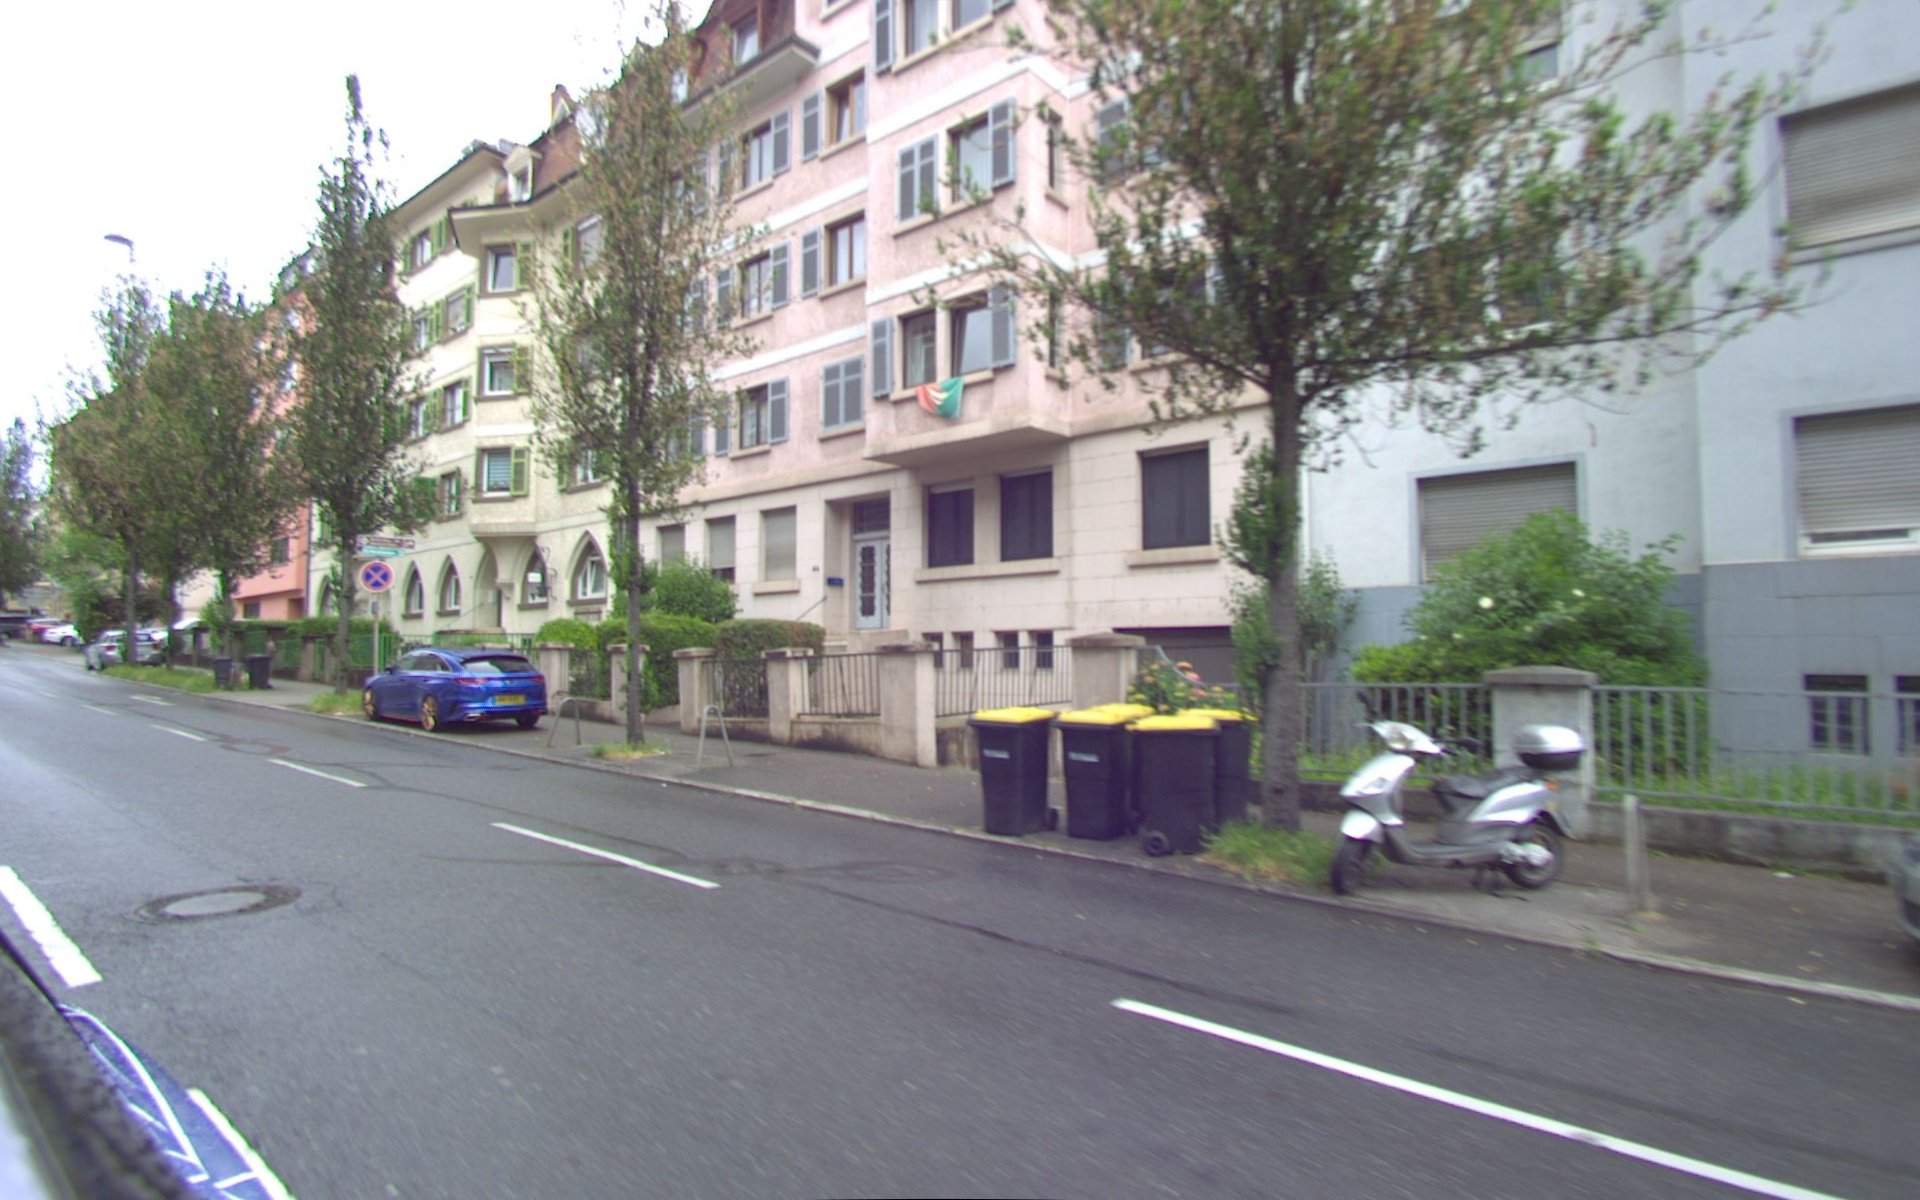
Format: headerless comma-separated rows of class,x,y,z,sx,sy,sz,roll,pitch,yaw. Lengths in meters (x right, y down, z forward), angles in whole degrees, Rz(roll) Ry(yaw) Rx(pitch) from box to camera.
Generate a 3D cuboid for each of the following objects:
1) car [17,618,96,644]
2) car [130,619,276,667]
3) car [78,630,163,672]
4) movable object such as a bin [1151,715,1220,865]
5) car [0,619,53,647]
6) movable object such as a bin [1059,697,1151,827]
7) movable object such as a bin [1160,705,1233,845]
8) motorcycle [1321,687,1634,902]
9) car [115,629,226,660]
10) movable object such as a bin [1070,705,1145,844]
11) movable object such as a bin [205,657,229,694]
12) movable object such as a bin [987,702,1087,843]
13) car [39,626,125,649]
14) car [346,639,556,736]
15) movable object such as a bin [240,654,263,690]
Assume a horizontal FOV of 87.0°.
car,-63.152,2.185,70.803,1.592,1.634,3.878,0,-3,41
car,-32.459,1.810,43.509,1.917,1.919,4.673,0,-1,38
car,-30.699,1.847,36.956,4.135,1.428,1.664,-1,-4,41
movable object such as a bin,1.792,1.479,8.011,0.480,1.066,0.522,0,0,19
car,-66.650,2.314,71.202,1.865,1.861,3.881,0,-3,38
movable object such as a bin,1.356,1.476,9.426,0.483,1.066,0.816,0,-1,41
movable object such as a bin,2.009,1.461,8.583,0.482,1.066,0.467,0,0,31
motorcycle,3.495,1.289,6.917,1.782,1.325,0.743,2,-3,-8
car,-38.460,2.176,49.376,1.721,1.408,3.886,0,-3,34
movable object such as a bin,1.254,1.458,8.574,0.482,1.066,0.467,0,0,31
movable object such as a bin,-18.938,1.916,25.810,0.572,0.896,0.360,-1,-2,40
movable object such as a bin,0.682,1.478,8.864,0.483,1.066,0.816,0,0,41
car,-55.514,2.371,64.023,1.645,1.307,3.878,0,-3,41
car,-9.139,1.469,17.999,4.600,1.396,1.661,0,-3,41
movable object such as a bin,-18.542,1.876,26.483,0.572,0.918,0.360,0,-1,40
